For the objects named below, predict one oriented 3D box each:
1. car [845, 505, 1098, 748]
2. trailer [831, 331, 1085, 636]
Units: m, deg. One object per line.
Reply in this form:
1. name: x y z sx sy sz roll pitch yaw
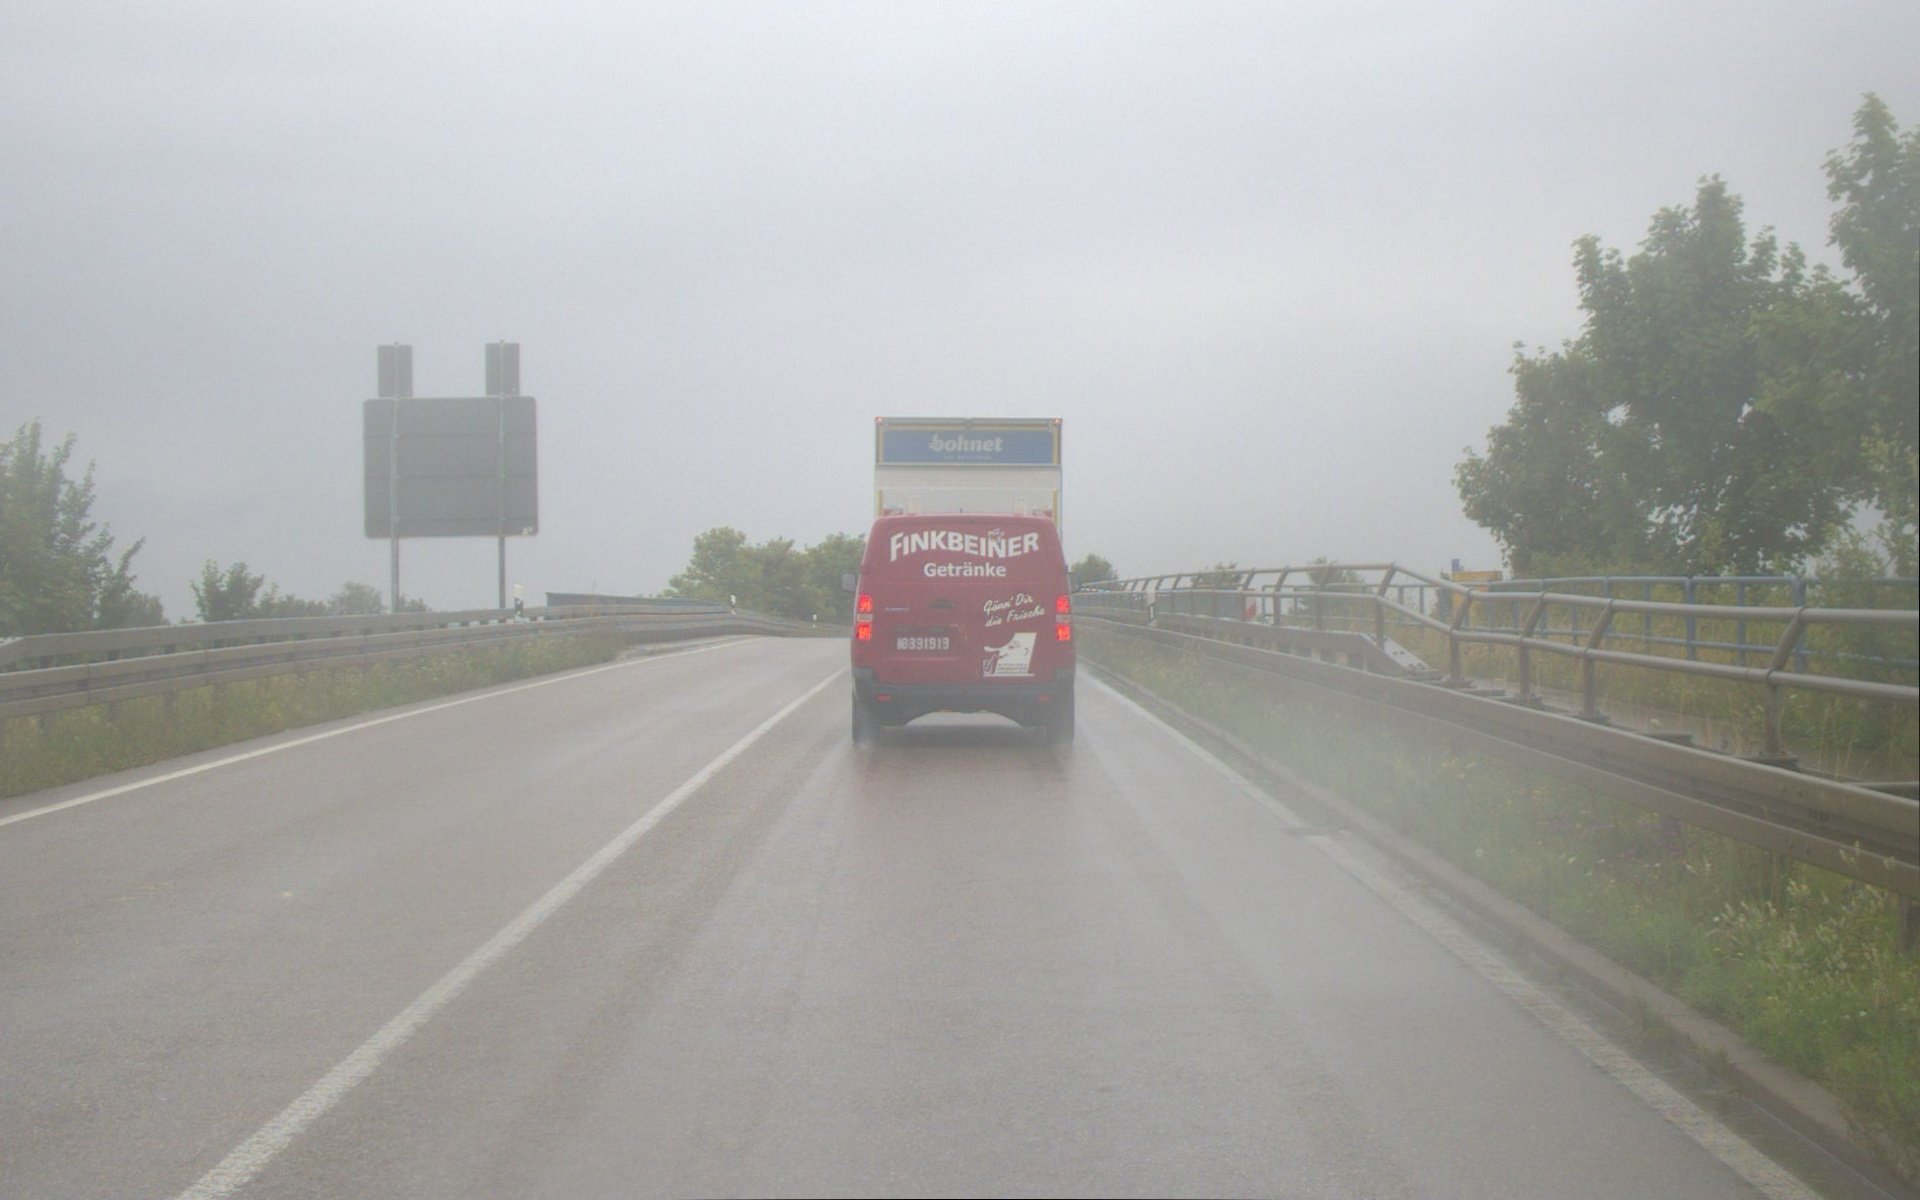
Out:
1. car: 0.065 0.188 29.611 1.993 1.919 4.143 1 1 -1
2. trailer: 0.093 -1.514 50.269 3.201 3.909 8.738 3 -1 2
